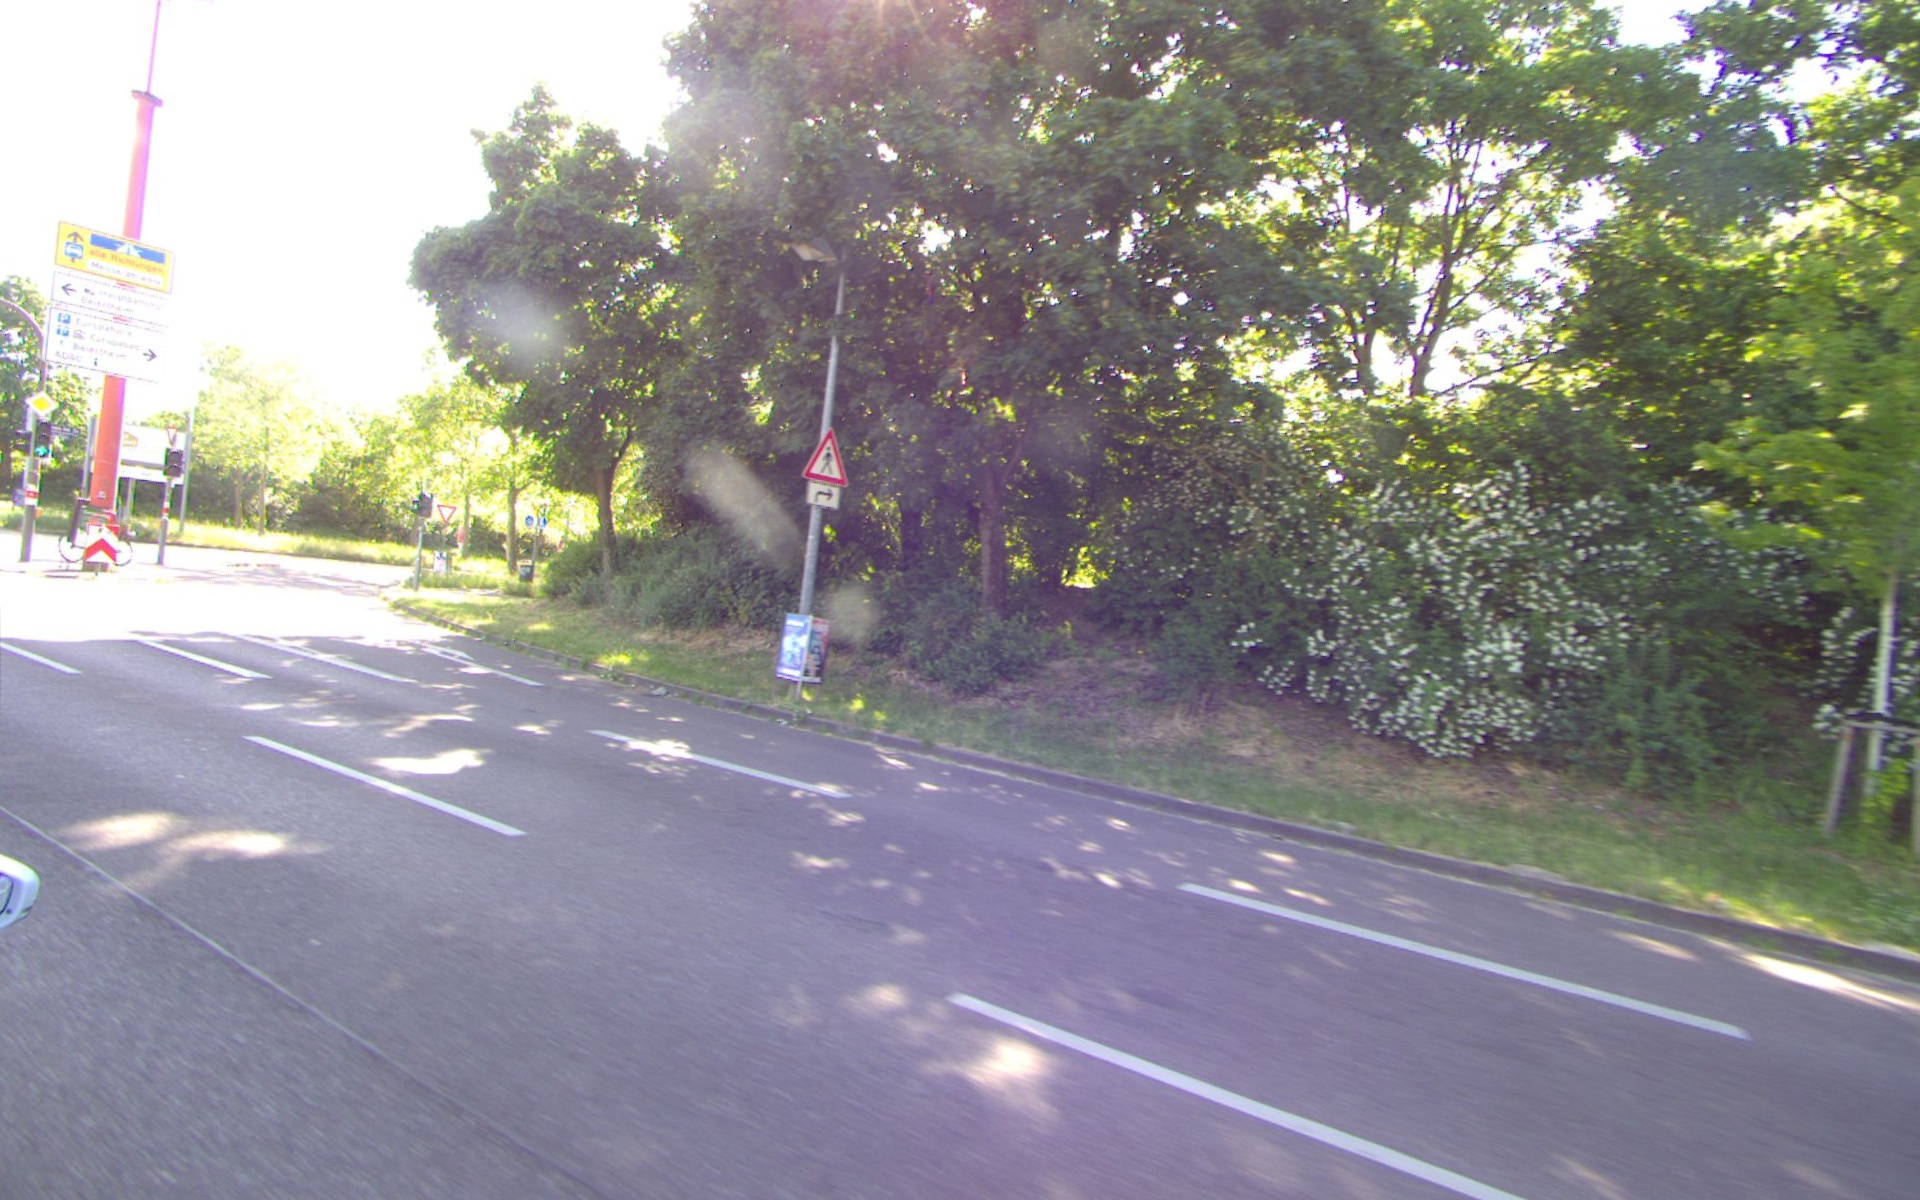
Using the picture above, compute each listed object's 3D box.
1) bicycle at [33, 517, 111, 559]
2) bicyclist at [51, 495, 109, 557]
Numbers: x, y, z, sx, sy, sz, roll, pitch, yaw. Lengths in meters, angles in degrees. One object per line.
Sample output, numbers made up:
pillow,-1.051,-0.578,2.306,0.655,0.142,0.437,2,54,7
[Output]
bicycle,-21.063,-1.448,23.908,0.552,0.889,2.159,6,0,-20
bicyclist,-21.029,-1.753,24.048,0.698,1.358,0.739,7,0,-19
